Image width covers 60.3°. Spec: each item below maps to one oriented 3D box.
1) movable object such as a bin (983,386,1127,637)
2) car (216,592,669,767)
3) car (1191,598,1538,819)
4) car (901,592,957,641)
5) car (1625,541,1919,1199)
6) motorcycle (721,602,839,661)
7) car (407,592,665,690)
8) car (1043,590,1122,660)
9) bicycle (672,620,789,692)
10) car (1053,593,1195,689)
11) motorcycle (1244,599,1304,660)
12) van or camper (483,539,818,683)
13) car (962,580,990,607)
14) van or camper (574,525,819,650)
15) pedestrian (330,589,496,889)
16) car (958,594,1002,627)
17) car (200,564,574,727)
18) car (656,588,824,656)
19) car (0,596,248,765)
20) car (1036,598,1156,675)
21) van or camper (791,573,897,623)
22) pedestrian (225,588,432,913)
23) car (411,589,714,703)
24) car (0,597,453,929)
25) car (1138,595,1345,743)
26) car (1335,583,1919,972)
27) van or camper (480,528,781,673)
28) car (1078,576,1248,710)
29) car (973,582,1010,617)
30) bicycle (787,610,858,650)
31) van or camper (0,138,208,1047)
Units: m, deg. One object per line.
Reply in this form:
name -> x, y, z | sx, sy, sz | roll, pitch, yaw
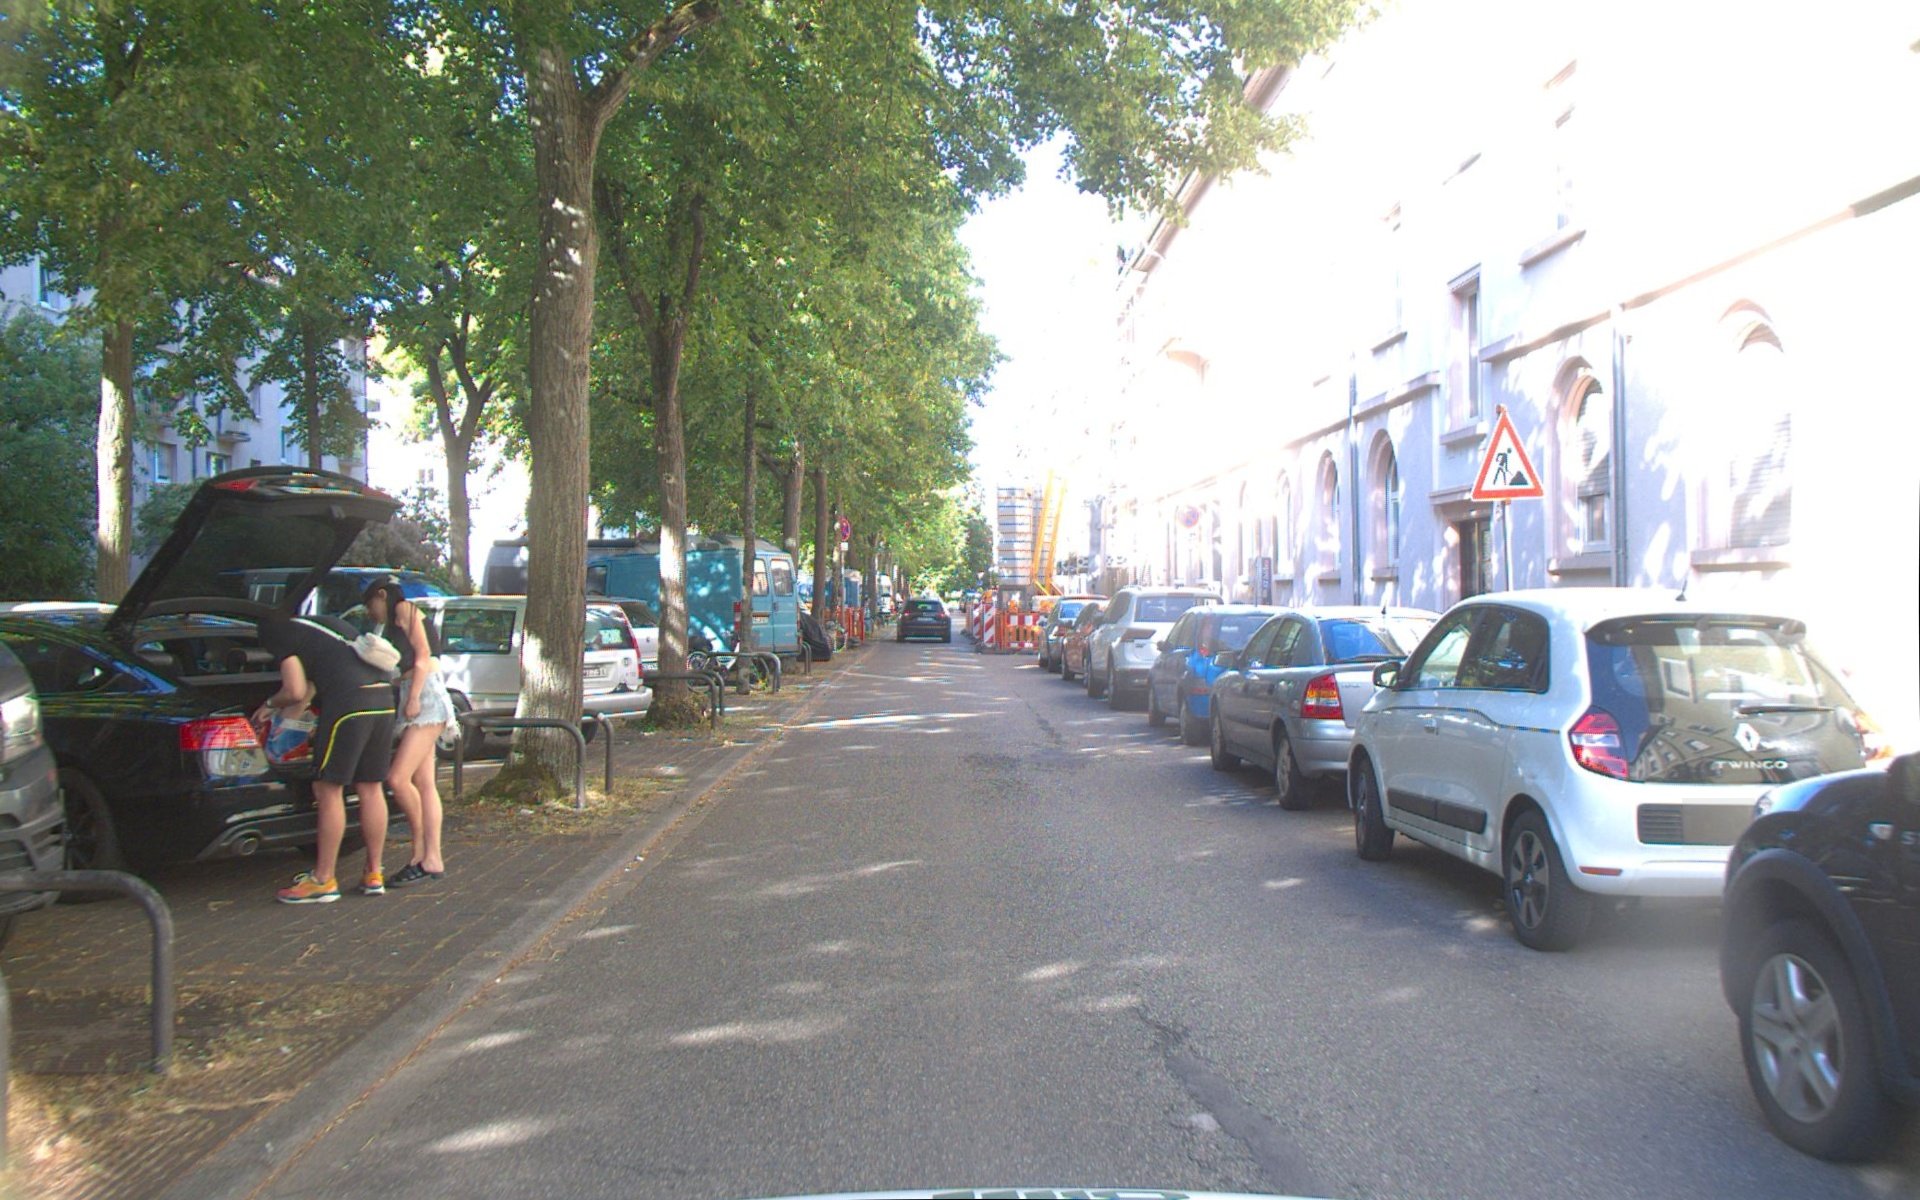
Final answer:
movable object such as a bin -> 2.715, -2.417, 47.171 | 3.415, 6.878, 2.363 | 0, 0, 31
car -> -5.051, 0.685, 15.962 | 4.393, 1.468, 1.728 | 0, 0, 32
car -> 3.014, 0.723, 13.169 | 1.598, 1.437, 4.087 | -1, 0, -3
car -> -1.054, 0.510, 54.758 | 1.761, 1.530, 3.584 | -1, 0, -2
car -> 3.185, 0.666, 3.441 | 1.688, 1.624, 4.154 | -1, 0, -4
motorcycle -> -4.022, 0.696, 36.989 | 2.495, 1.280, 0.763 | -1, 0, 7
car -> -6.810, 0.624, 26.510 | 3.911, 1.456, 1.718 | 0, 0, 30
car -> 2.836, 0.551, 38.780 | 1.560, 1.557, 2.779 | 0, 0, -2
bicycle -> -3.475, 0.836, 25.132 | 1.702, 1.023, 0.506 | -1, 0, -32
car -> 2.821, 0.663, 29.260 | 1.756, 1.550, 3.959 | -1, 0, -5
motorcycle -> 6.523, 0.605, 34.448 | 0.537, 1.214, 1.831 | -1, 0, -12
van or camper -> -5.387, 0.203, 28.773 | 5.386, 2.315, 2.220 | -1, 0, 23
car -> 1.071, -0.455, 115.395 | 1.761, 1.832, 3.584 | -1, 0, -2
van or camper -> -7.377, -0.306, 46.088 | 6.527, 3.297, 2.492 | -1, 0, 28
pedestrian -> -2.811, 0.689, 8.519 | 0.602, 1.481, 0.519 | -1, 0, 22
car -> 0.854, 0.451, 73.790 | 1.761, 1.409, 3.584 | -1, 0, -2
car -> -6.999, 0.507, 20.108 | 4.460, 1.795, 1.807 | 0, 0, 29
car -> -5.611, 0.550, 42.159 | 3.874, 1.657, 1.822 | -1, 0, 25
car -> -8.717, 0.704, 15.847 | 3.494, 1.449, 1.673 | 0, 0, 28
car -> 2.719, 0.694, 34.023 | 1.953, 1.434, 4.499 | 0, 0, -2
van or camper -> -6.152, -0.092, 87.789 | 5.235, 2.518, 2.289 | -1, 0, 31
pedestrian -> -3.037, 0.691, 7.978 | 0.695, 1.481, 0.596 | -1, 0, 22
car -> -5.579, 0.612, 23.206 | 3.867, 1.468, 1.844 | 0, 0, 27
car -> -4.971, 0.733, 8.986 | 4.230, 1.449, 1.674 | 0, 0, 26
car -> 3.012, 0.686, 18.375 | 1.585, 1.437, 3.787 | -1, 0, -1
car -> 3.213, 0.706, 8.543 | 1.598, 1.561, 3.591 | -1, 0, -3
van or camper -> -6.605, 0.035, 32.997 | 5.756, 2.683, 2.252 | -1, 0, 29
car -> 2.798, 0.537, 23.747 | 1.779, 1.703, 4.672 | -1, 0, -1
car -> 1.662, -0.050, 88.978 | 1.761, 1.832, 3.584 | -1, 0, -2
bicycle -> -3.609, 0.791, 43.446 | 1.858, 1.024, 0.430 | -1, 0, 23
van or camper -> -6.487, 0.029, 6.649 | 7.083, 2.981, 2.312 | -1, 0, 26
